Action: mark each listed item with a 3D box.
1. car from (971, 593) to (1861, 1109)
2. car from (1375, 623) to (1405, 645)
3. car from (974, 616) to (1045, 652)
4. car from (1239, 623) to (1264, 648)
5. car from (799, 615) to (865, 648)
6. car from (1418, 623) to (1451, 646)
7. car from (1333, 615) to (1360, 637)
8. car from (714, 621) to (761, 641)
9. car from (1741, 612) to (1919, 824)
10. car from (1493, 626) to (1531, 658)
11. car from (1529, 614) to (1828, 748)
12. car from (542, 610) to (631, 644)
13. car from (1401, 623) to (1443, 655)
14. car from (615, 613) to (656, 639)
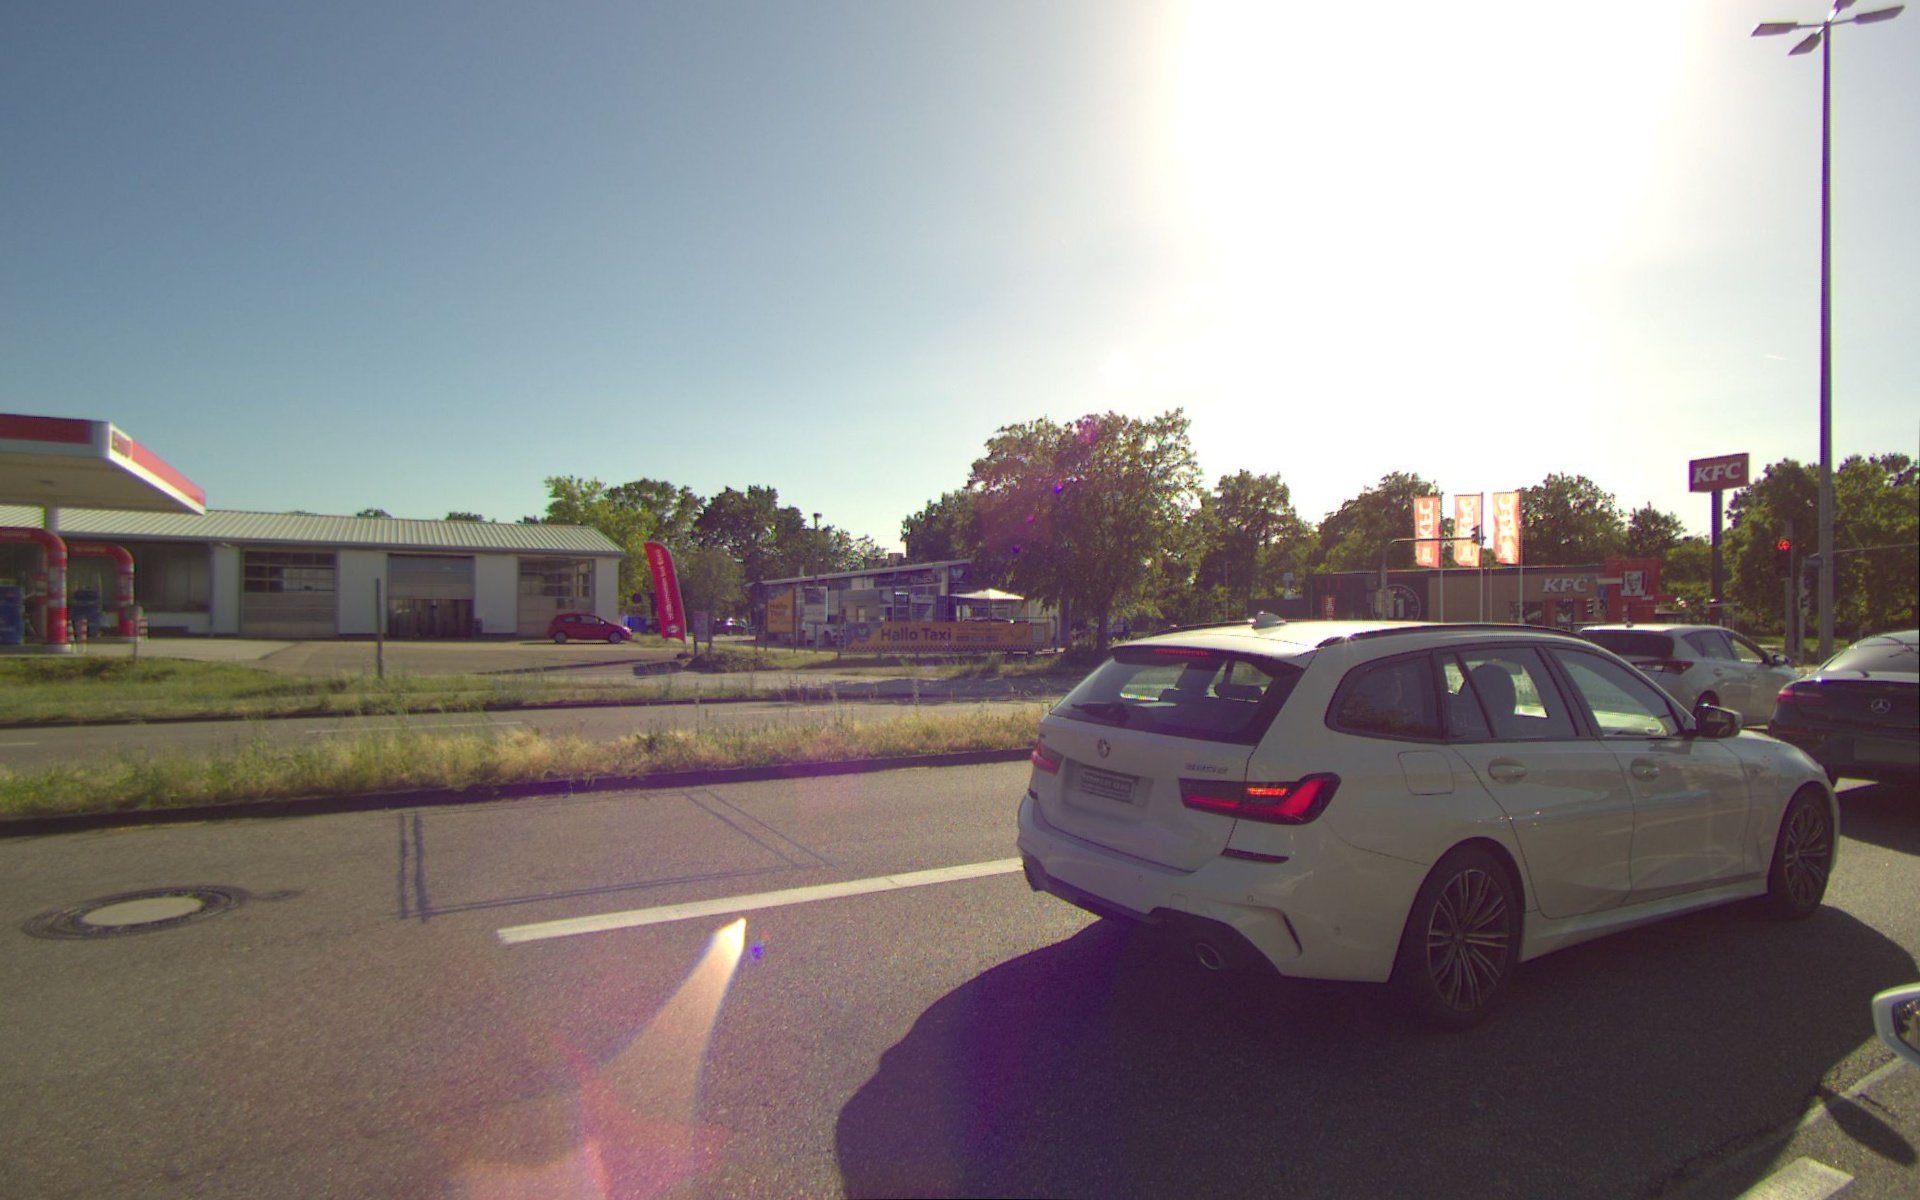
[{"bbox_3d":[2.374,0.795,4.863,4.353,1.510,1.776,2,0,-31],"label":"car"},{"bbox_3d":[31.294,2.439,73.207,1.629,1.491,3.919,2,0,18],"label":"car"},{"bbox_3d":[2.388,1.661,49.546,1.839,1.613,3.974,2,0,-26],"label":"car"},{"bbox_3d":[21.804,2.615,75.141,1.629,1.695,3.945,2,0,18],"label":"car"},{"bbox_3d":[-6.806,1.640,53.154,1.978,1.584,3.964,2,0,-32],"label":"car"},{"bbox_3d":[33.927,2.449,71.934,1.629,1.491,3.919,2,0,18],"label":"car"},{"bbox_3d":[28.283,1.888,73.642,1.629,1.491,3.919,2,0,18],"label":"car"},{"bbox_3d":[-19.390,2.713,87.589,3.929,1.634,1.996,2,0,-11],"label":"car"},{"bbox_3d":[8.765,0.928,8.626,4.425,1.510,1.787,2,0,-31],"label":"car"},{"bbox_3d":[33.082,2.468,60.189,1.880,1.776,4.349,2,0,29],"label":"car"},{"bbox_3d":[9.615,0.999,13.372,4.150,1.510,1.750,2,0,-31],"label":"car"},{"bbox_3d":[-18.355,1.329,49.395,3.946,1.537,1.772,2,0,-25],"label":"car"},{"bbox_3d":[28.336,2.337,61.507,1.964,1.788,4.349,2,0,29],"label":"car"},{"bbox_3d":[-19.309,1.539,59.695,1.634,1.383,3.744,2,0,-29],"label":"car"}]
